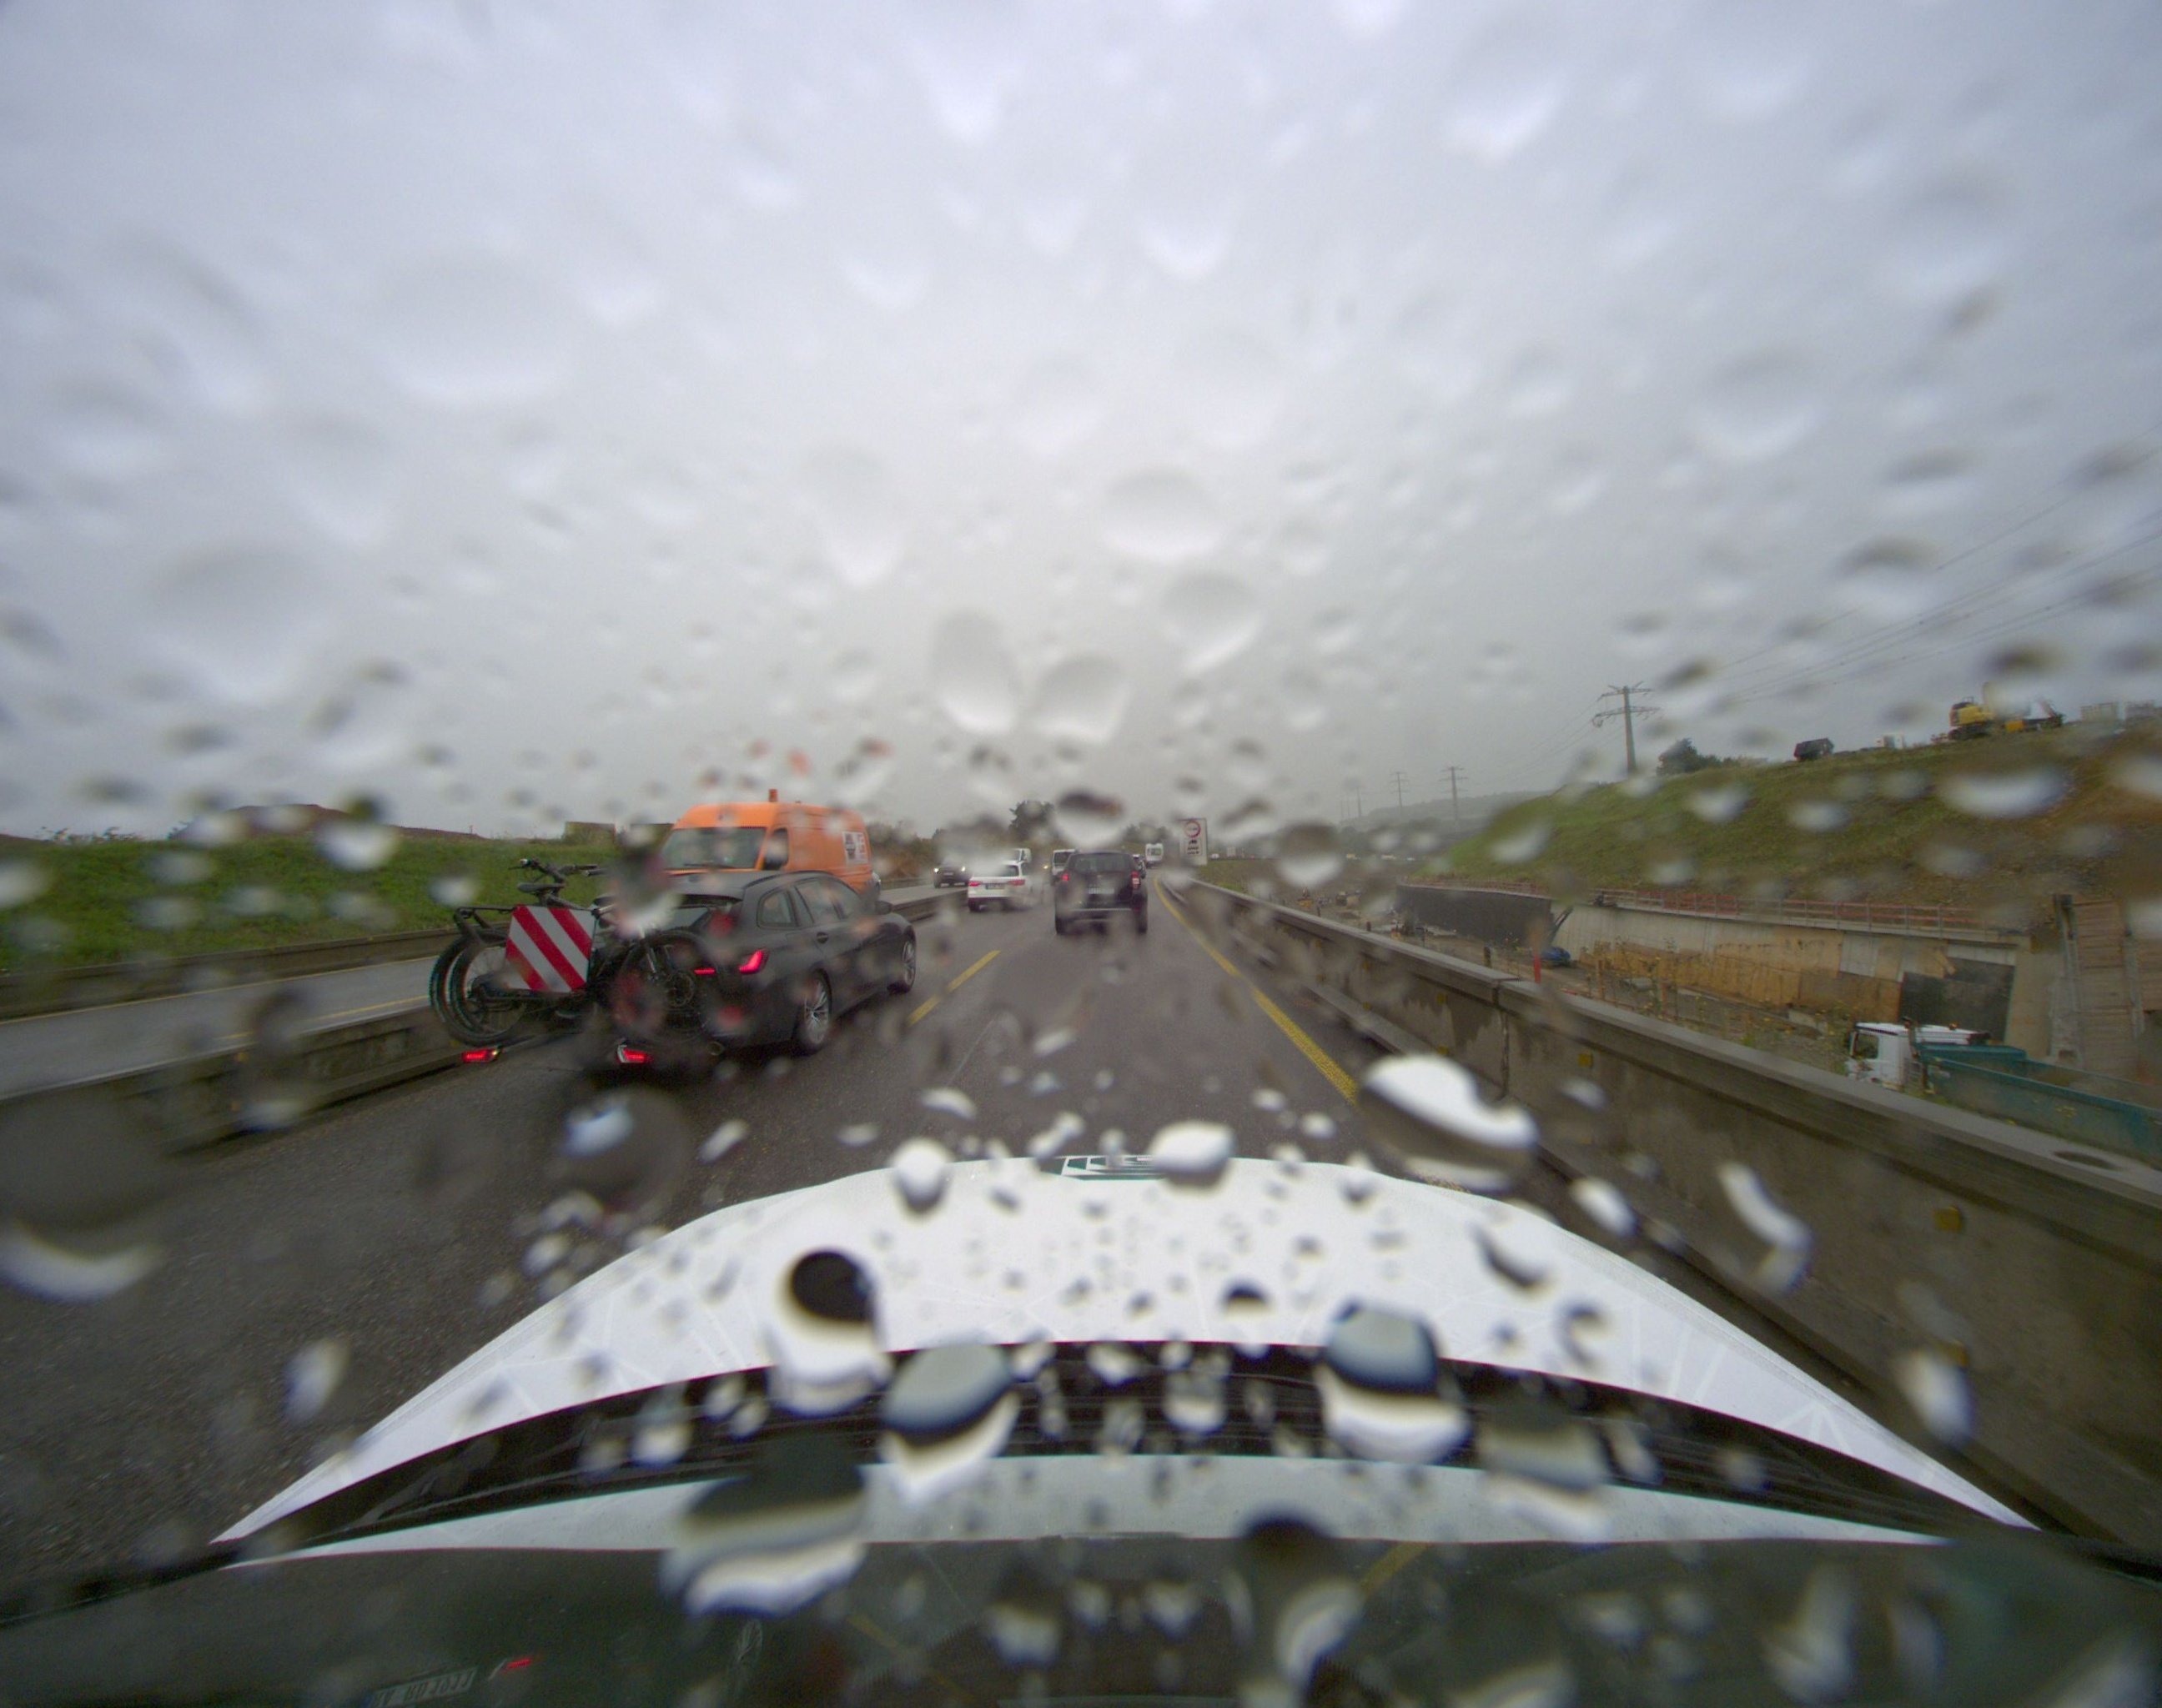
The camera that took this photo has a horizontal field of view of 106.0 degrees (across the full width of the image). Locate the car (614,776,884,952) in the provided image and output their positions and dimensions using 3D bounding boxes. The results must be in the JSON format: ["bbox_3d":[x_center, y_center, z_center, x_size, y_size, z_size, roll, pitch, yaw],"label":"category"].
[{"bbox_3d":[-5.789,0.131,15.623,2.046,2.577,7.024,-1,0,2],"label":"car"}]

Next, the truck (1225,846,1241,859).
[{"bbox_3d":[43.395,-0.437,232.232,3.444,3.715,8.456,-2,0,18],"label":"truck"}]

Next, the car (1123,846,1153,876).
[{"bbox_3d":[3.702,0.468,52.257,1.818,1.815,4.005,-1,-1,5],"label":"car"}]

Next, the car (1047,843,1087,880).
[{"bbox_3d":[-0.695,0.411,43.415,1.819,1.815,4.003,-1,-1,3],"label":"car"}]

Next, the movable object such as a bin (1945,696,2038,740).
[{"bbox_3d":[63.995,-9.535,57.329,2.414,2.443,3.979,-1,1,9],"label":"movable object such as a bin"}]

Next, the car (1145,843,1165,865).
[{"bbox_3d":[8.326,0.053,91.402,1.815,2.437,4.168,-1,-1,9],"label":"car"}]

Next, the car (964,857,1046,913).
[{"bbox_3d":[-2.150,0.858,24.138,1.819,1.499,4.003,-1,-1,3],"label":"car"}]

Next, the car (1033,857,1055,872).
[{"bbox_3d":[-3.587,0.983,79.811,1.573,1.383,4.005,-1,0,5],"label":"car"}]

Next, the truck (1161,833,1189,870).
[{"bbox_3d":[13.777,-0.278,119.133,3.523,5.077,10.468,-1,-1,9],"label":"truck"}]

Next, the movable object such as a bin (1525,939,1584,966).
[{"bbox_3d":[39.920,8.258,68.685,2.008,2.014,3.799,3,-4,-35],"label":"movable object such as a bin"}]

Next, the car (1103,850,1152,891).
[{"bbox_3d":[1.847,0.640,32.405,1.819,1.499,4.003,-1,-1,3],"label":"car"}]

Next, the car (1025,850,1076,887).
[{"bbox_3d":[-1.280,0.635,35.702,1.819,1.499,4.003,-1,-1,3],"label":"car"}]

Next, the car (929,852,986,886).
[{"bbox_3d":[-6.620,0.744,44.204,1.984,1.686,4.975,-1,1,4],"label":"car"}]

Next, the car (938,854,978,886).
[{"bbox_3d":[-6.555,0.826,43.614,1.525,1.601,3.169,-1,1,2],"label":"car"}]

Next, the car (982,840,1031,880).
[{"bbox_3d":[-3.920,0.278,43.912,1.986,1.999,4.972,-1,1,2],"label":"car"}]

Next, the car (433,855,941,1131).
[{"bbox_3d":[-2.828,0.840,7.645,1.727,1.462,5.634,-1,1,3],"label":"car"}]

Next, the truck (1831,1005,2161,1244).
[{"bbox_3d":[24.050,6.330,20.499,2.716,3.491,9.080,-1,-1,6],"label":"truck"}]

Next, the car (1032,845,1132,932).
[{"bbox_3d":[0.126,0.661,16.988,1.818,1.591,4.003,-1,-1,3],"label":"car"}]
